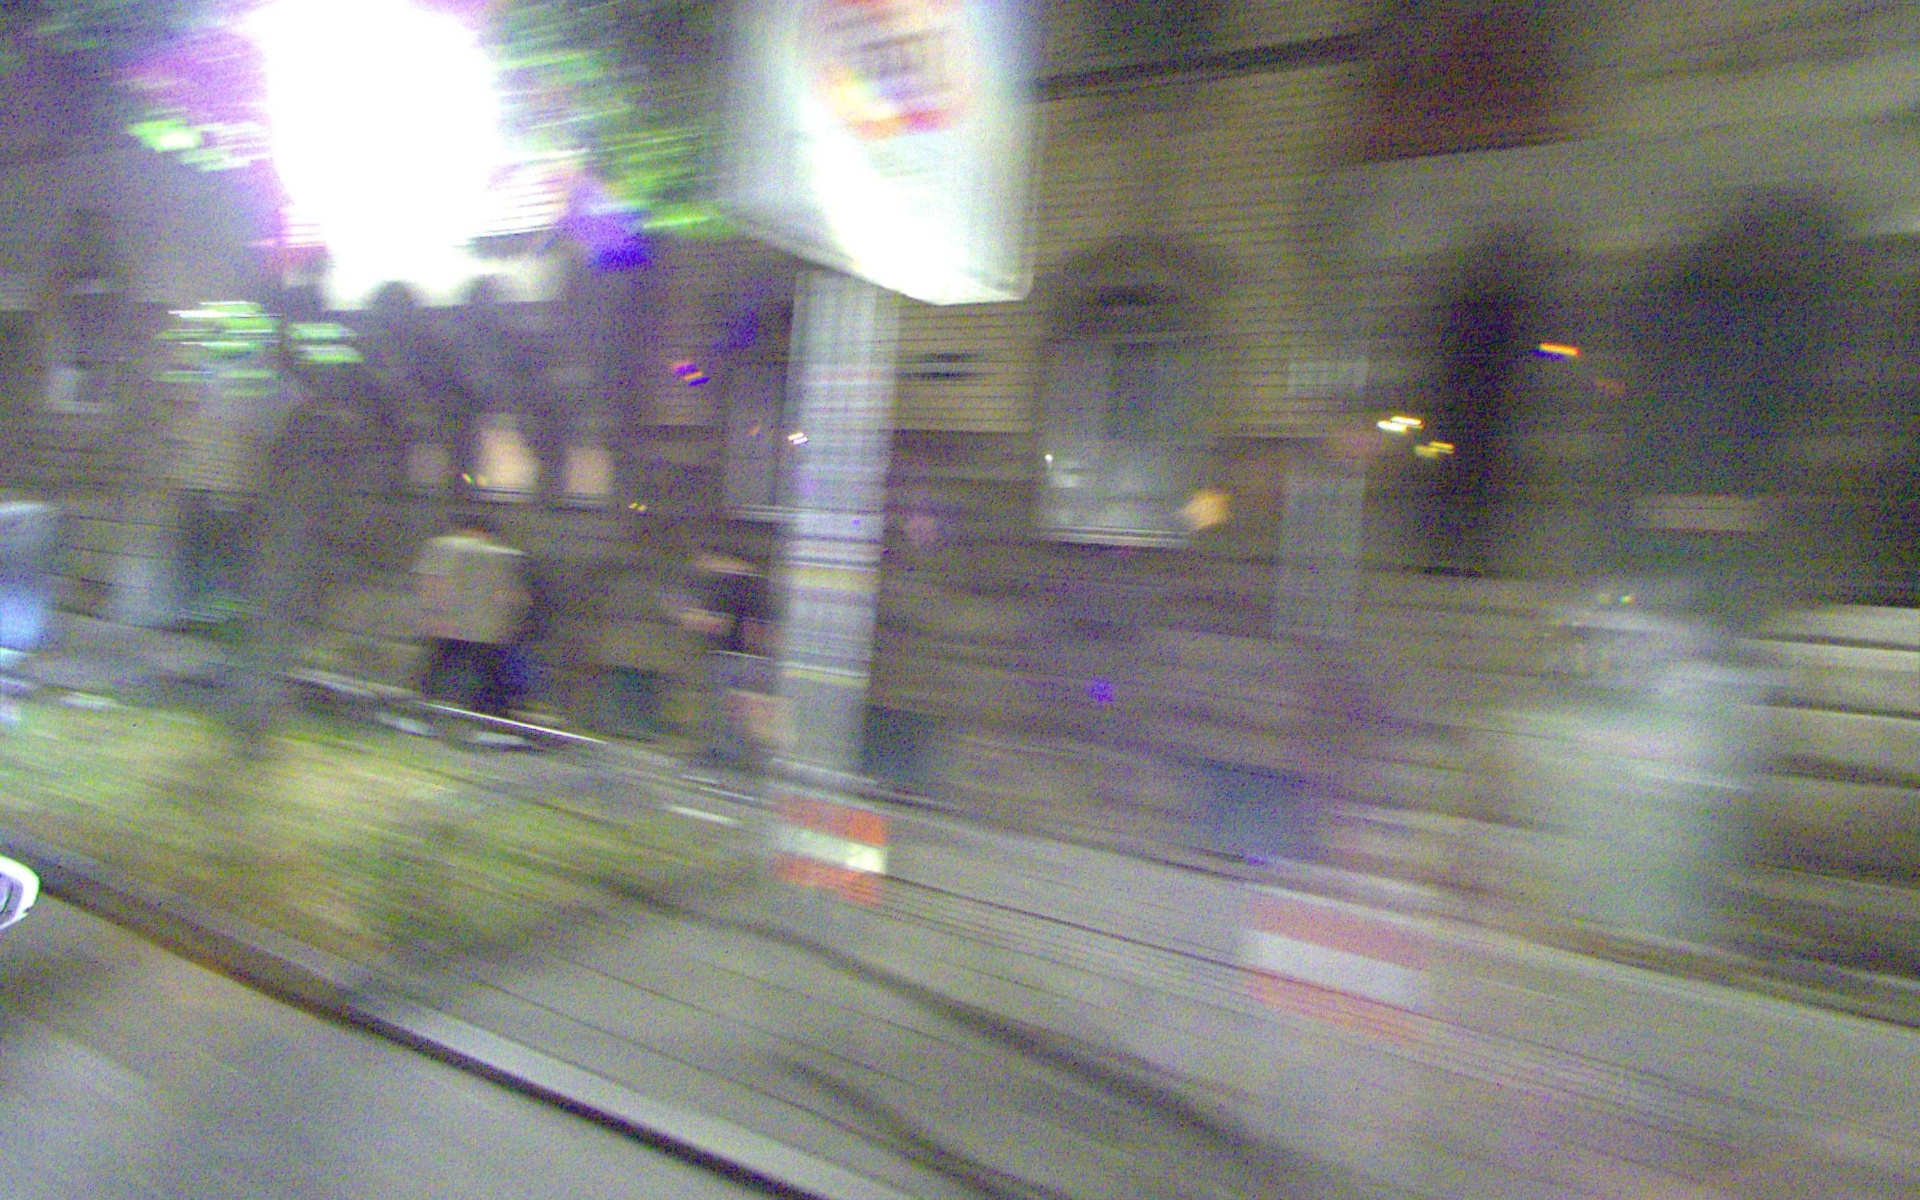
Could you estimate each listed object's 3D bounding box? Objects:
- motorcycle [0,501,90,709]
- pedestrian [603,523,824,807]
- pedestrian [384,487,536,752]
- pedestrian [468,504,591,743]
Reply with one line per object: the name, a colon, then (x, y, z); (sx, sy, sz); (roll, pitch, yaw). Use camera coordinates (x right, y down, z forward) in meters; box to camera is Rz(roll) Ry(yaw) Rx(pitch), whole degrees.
motorcycle: (-6.631, 0.009, 6.347); (0.750, 1.370, 1.940); (6, 1, -10)
pedestrian: (-1.601, 0.402, 6.586); (0.949, 1.651, 0.808); (6, 0, 28)
pedestrian: (-3.501, 0.128, 7.053); (0.692, 1.731, 0.507); (7, 2, 26)
pedestrian: (-3.300, 0.173, 7.721); (0.561, 1.731, 0.477); (7, 2, 26)
